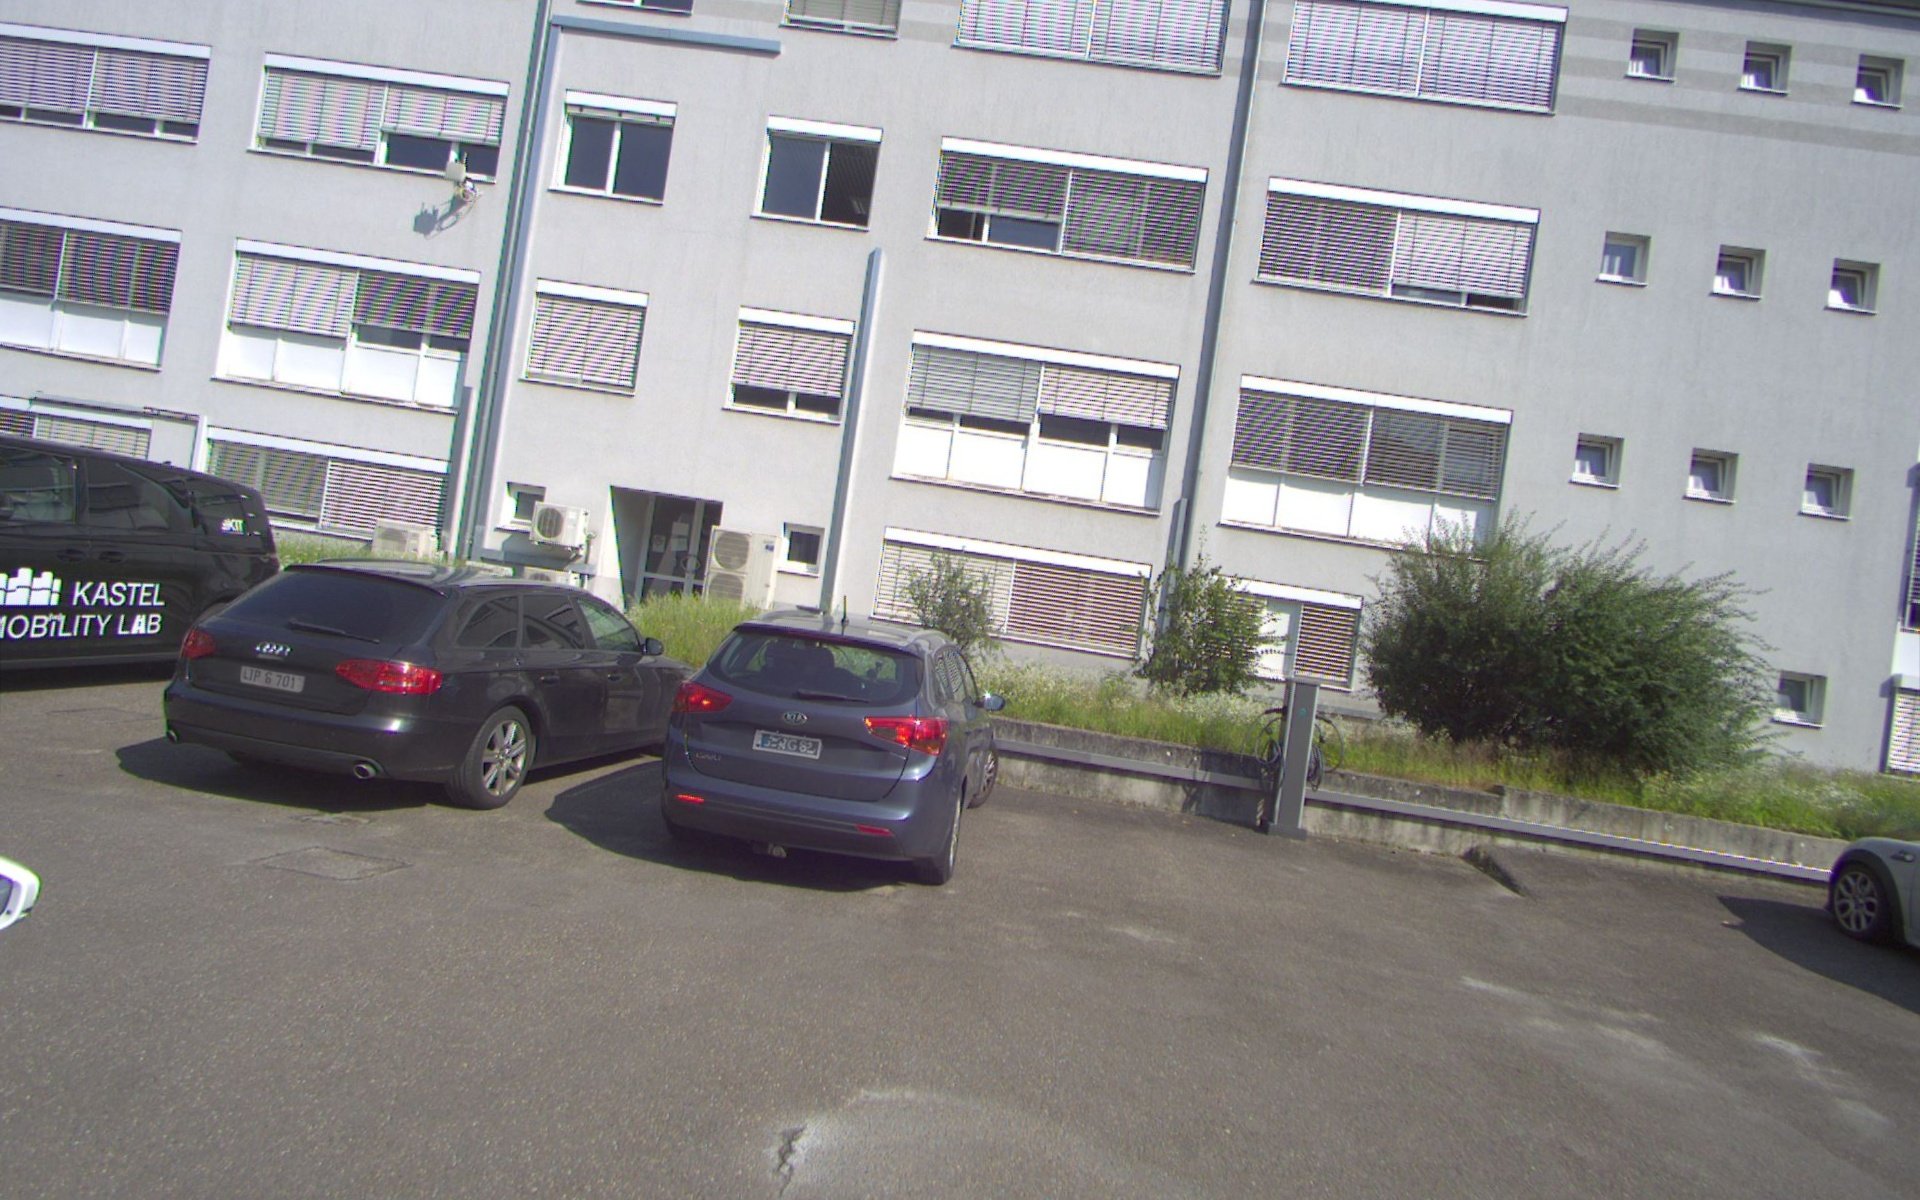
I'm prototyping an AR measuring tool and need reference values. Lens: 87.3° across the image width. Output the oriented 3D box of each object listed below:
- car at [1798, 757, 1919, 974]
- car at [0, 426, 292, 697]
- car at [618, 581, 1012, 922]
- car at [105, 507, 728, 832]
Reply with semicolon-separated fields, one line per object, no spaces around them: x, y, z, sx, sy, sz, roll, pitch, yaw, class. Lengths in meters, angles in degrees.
7.821;2.103;6.699;1.627;1.454;3.586;9;-1;8;car
-7.560;-0.378;7.572;1.880;1.880;4.351;9;-1;1;car
-0.666;0.856;7.241;1.710;1.495;4.064;9;-1;6;car
-3.379;0.447;7.389;1.658;1.454;4.251;9;-1;8;car
